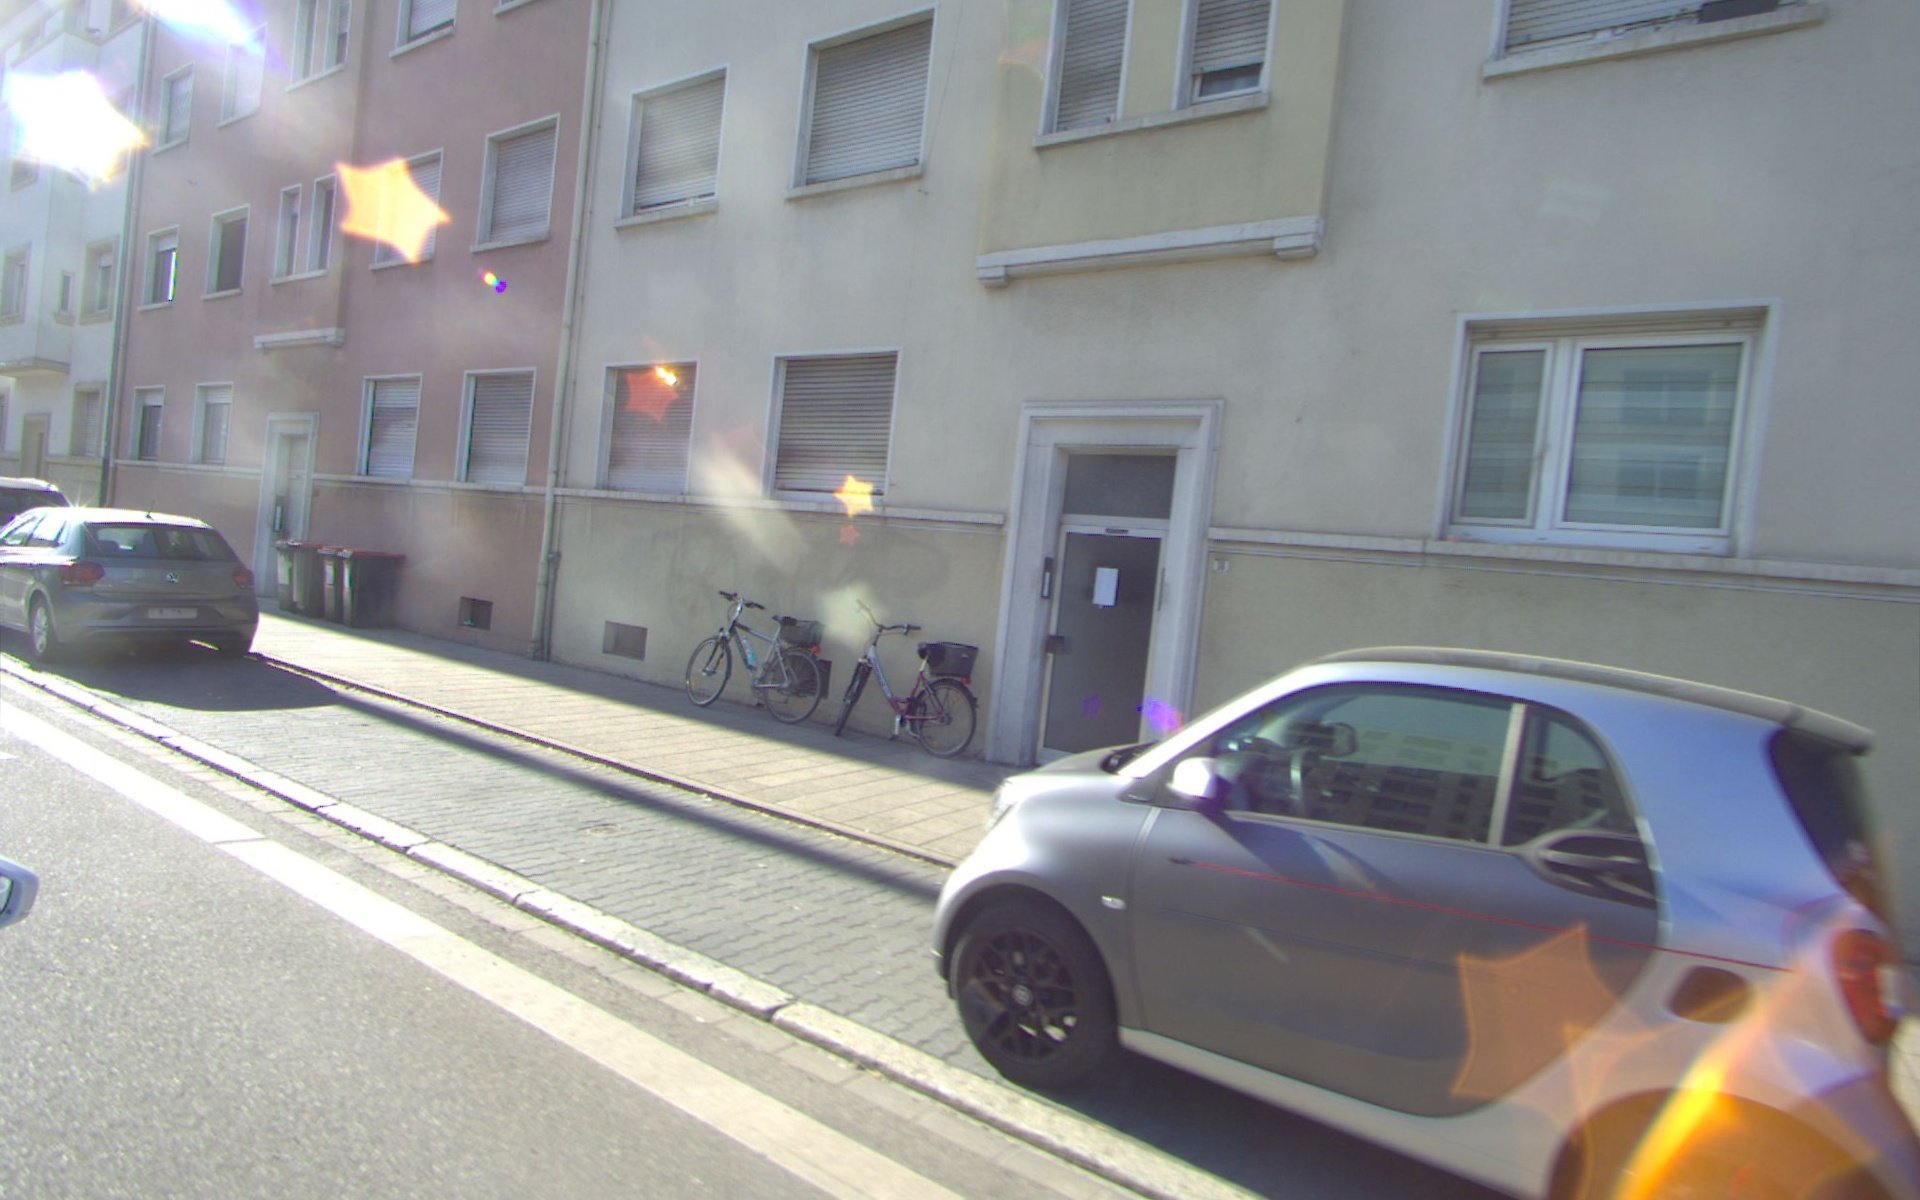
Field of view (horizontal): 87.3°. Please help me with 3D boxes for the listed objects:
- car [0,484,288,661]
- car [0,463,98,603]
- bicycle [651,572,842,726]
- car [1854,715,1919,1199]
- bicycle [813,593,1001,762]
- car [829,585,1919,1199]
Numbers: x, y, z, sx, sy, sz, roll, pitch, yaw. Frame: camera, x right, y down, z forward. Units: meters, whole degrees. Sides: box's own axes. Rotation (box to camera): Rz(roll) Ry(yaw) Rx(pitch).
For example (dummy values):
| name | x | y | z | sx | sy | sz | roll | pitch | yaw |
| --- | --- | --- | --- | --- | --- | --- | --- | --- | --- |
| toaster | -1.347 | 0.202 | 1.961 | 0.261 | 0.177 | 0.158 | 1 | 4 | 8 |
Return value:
| name | x | y | z | sx | sy | sz | roll | pitch | yaw |
| --- | --- | --- | --- | --- | --- | --- | --- | --- | --- |
| car | -9.102 | -0.376 | 10.734 | 4.028 | 1.491 | 1.772 | 7 | 3 | 34 |
| car | -13.296 | -1.013 | 13.326 | 4.115 | 1.666 | 1.661 | 7 | 3 | 32 |
| bicycle | -2.090 | 0.431 | 9.701 | 1.852 | 1.209 | 0.629 | 7 | 4 | 35 |
| car | 4.475 | 1.270 | 1.255 | 4.665 | 1.417 | 1.883 | 6 | 3 | 34 |
| bicycle | -0.483 | 0.635 | 8.713 | 1.532 | 1.208 | 0.513 | 7 | 2 | 35 |
| car | 1.231 | 0.871 | 3.496 | 2.940 | 1.546 | 1.552 | 6 | 1 | 32 |
